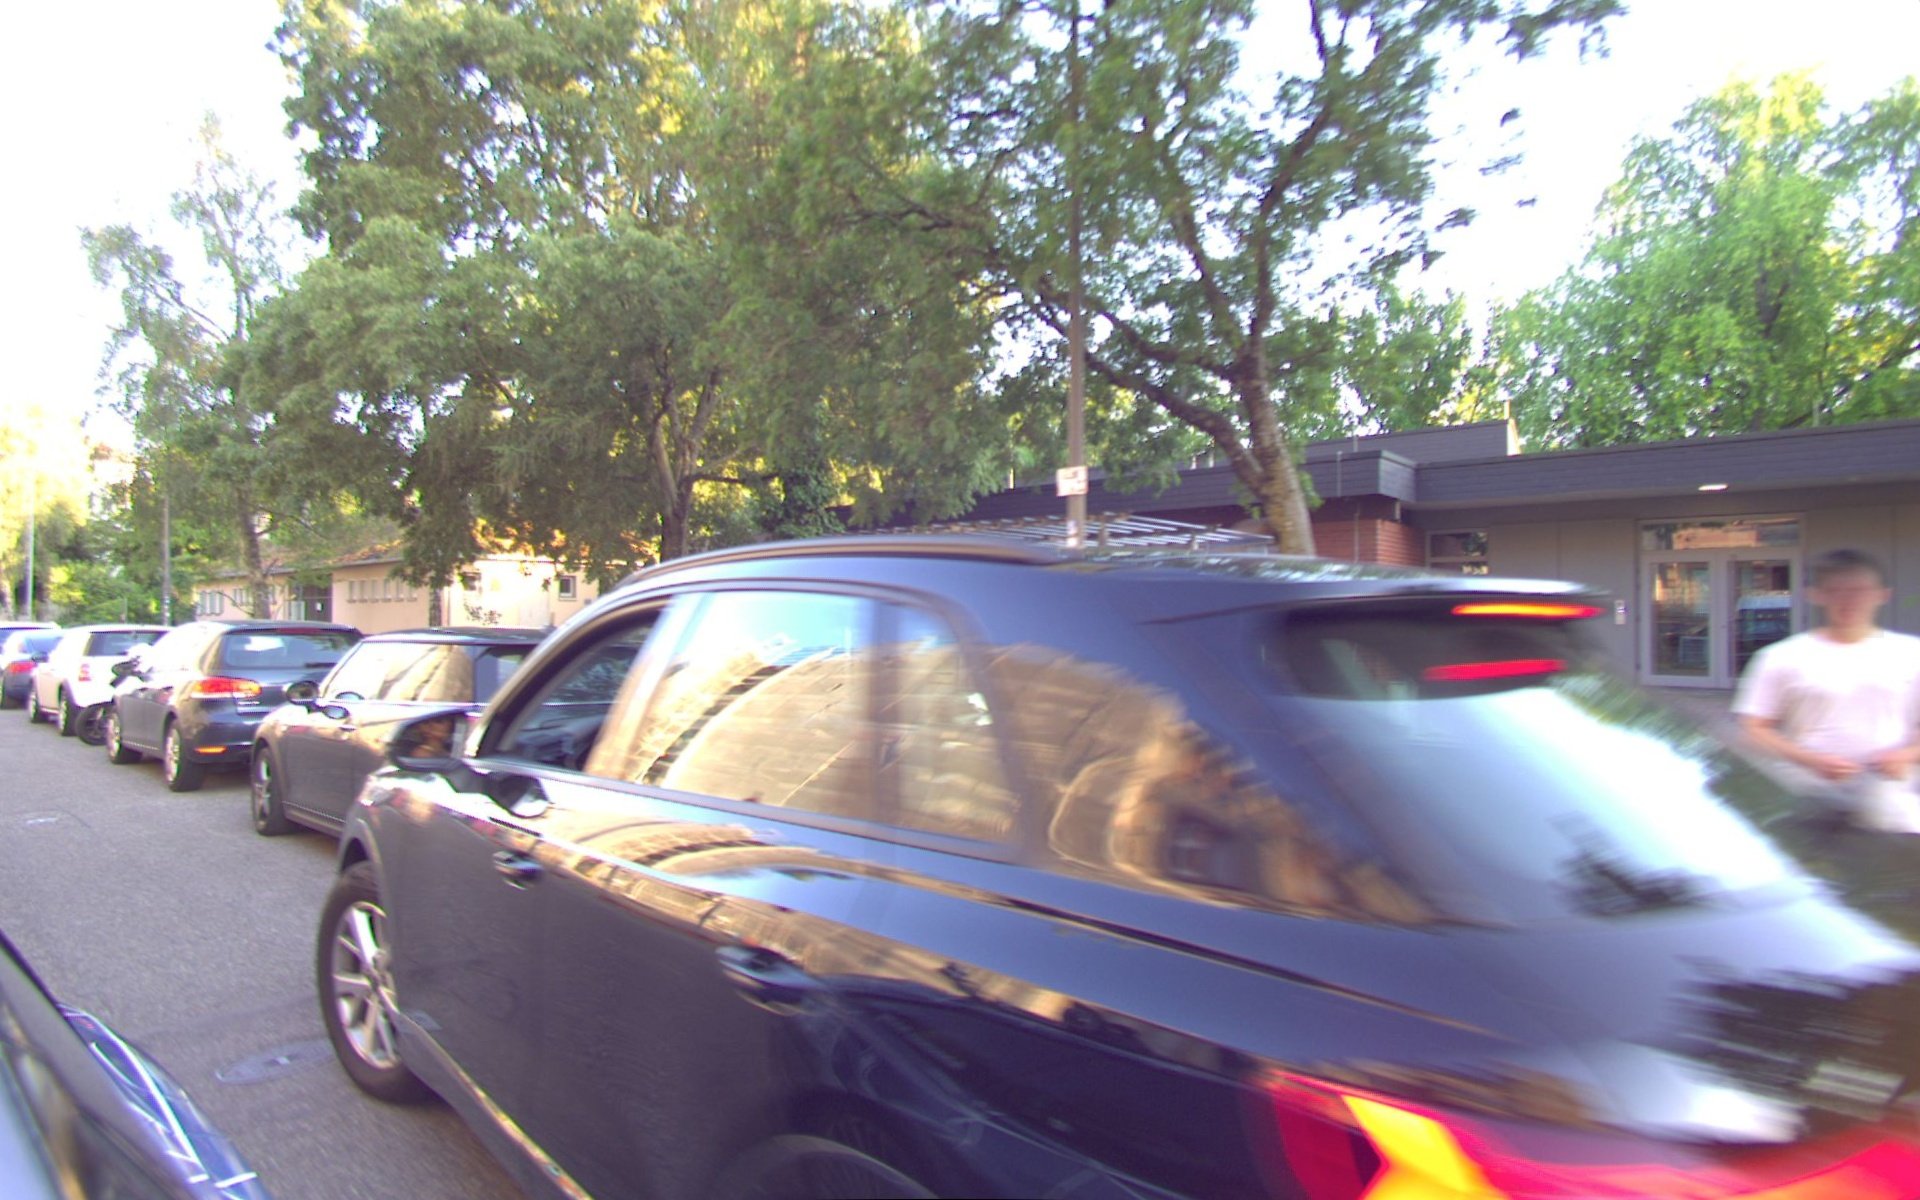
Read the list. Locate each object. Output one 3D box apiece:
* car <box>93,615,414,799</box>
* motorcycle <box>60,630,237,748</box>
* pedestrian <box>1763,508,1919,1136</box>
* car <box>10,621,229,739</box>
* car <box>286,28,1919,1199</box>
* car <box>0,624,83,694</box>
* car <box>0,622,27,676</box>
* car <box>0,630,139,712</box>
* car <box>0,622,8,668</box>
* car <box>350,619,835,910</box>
[{"bbox_3d":[-7.045,0.906,9.954,3.803,1.457,1.715,-1,-3,41],"label":"car"},{"bbox_3d":[-9.739,1.027,12.180,0.785,1.268,1.575,-1,0,44],"label":"motorcycle"},{"bbox_3d":[2.808,0.596,3.057,0.557,1.715,0.739,-1,1,37],"label":"pedestrian"},{"bbox_3d":[-11.933,1.037,14.289,3.802,1.436,1.716,-1,-3,40],"label":"car"},{"bbox_3d":[-0.201,0.627,2.404,1.712,1.644,4.130,2,-3,-42],"label":"car"},{"bbox_3d":[-20.024,1.202,21.346,3.802,1.377,1.716,-1,-3,40],"label":"car"},{"bbox_3d":[-26.365,1.284,26.920,4.288,1.377,1.716,-1,-3,40],"label":"car"},{"bbox_3d":[-16.117,1.192,17.954,3.802,1.297,1.716,-1,-3,40],"label":"car"},{"bbox_3d":[-30.847,1.360,31.158,4.288,1.377,1.716,-1,-3,40],"label":"car"},{"bbox_3d":[-2.576,0.869,6.763,3.414,1.436,1.602,-1,-3,41],"label":"car"}]
